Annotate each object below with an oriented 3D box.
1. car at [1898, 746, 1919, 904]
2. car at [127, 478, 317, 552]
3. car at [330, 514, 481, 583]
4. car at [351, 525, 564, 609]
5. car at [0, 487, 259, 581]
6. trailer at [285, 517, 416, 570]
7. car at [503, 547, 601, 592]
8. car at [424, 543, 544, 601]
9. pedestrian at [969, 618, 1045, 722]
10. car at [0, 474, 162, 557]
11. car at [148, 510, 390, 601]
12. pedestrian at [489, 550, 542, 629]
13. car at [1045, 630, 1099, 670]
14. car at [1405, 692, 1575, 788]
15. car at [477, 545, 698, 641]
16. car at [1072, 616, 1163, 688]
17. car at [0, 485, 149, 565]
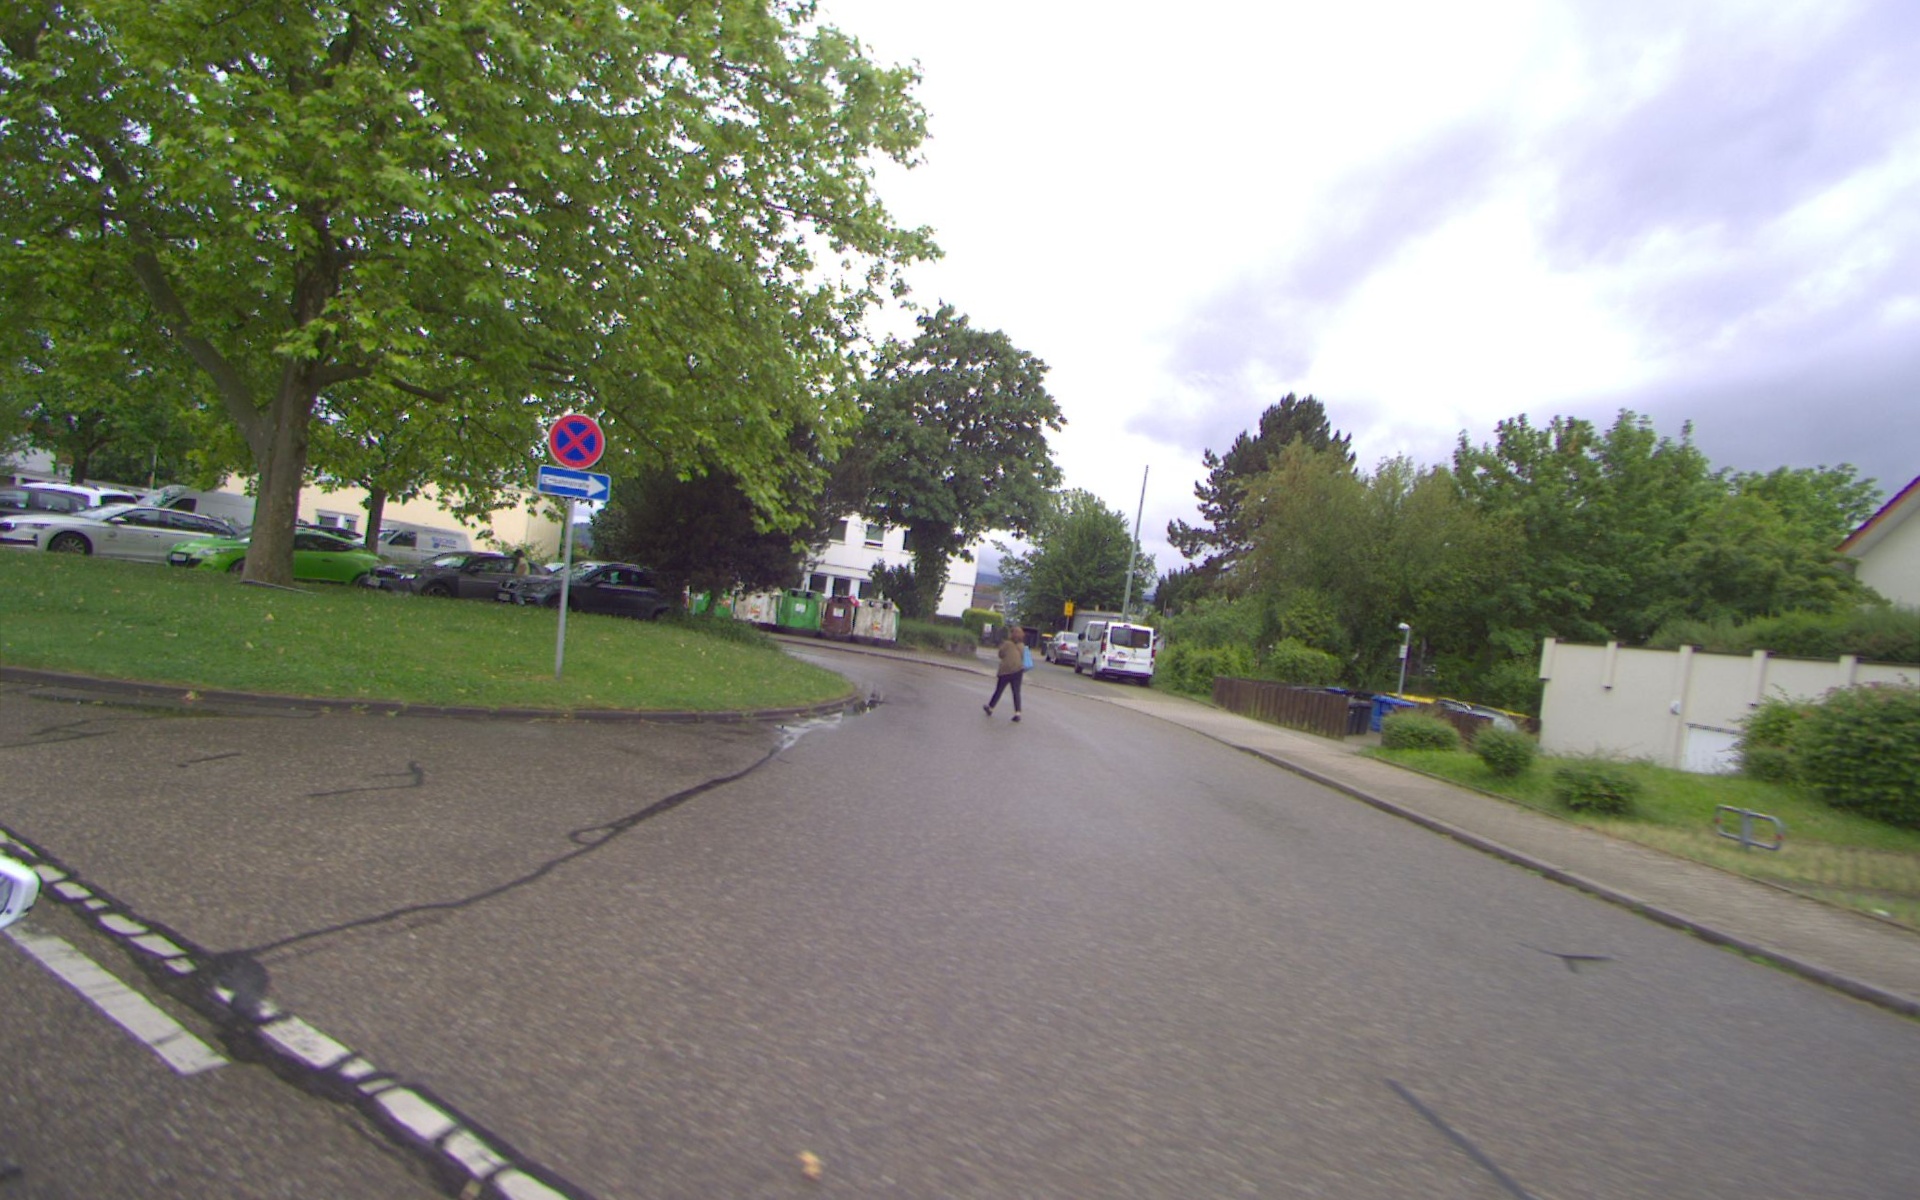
[{"bbox_3d":[10.598,2.230,8.521,3.702,1.499,1.744,7,1,-6],"label":"car"},{"bbox_3d":[-29.099,-3.276,39.958,1.963,2.038,5.838,7,0,21],"label":"car"},{"bbox_3d":[-21.438,-1.933,39.145,1.964,2.038,4.762,7,0,24],"label":"car"},{"bbox_3d":[-11.238,-0.680,22.804,1.733,1.388,4.019,7,0,26],"label":"car"},{"bbox_3d":[-18.407,-1.417,22.117,1.733,1.460,4.583,7,0,26],"label":"car"},{"bbox_3d":[-23.914,-2.189,39.631,1.684,1.454,3.993,7,-1,32],"label":"trailer"},{"bbox_3d":[-15.849,-1.159,39.208,1.556,1.245,3.299,7,-1,22],"label":"car"},{"bbox_3d":[-18.689,-1.052,39.646,1.792,1.795,3.900,7,0,24],"label":"car"},{"bbox_3d":[0.787,1.159,16.877,0.729,1.602,0.944,7,-1,-26],"label":"pedestrian"},{"bbox_3d":[-27.193,-2.593,30.566,4.134,1.904,2.000,7,0,1],"label":"car"},{"bbox_3d":[-15.161,-0.925,22.320,1.733,1.460,4.019,7,0,26],"label":"car"},{"bbox_3d":[-9.996,-0.231,22.641,0.578,1.672,0.738,8,1,34],"label":"pedestrian"},{"bbox_3d":[4.800,2.124,43.667,1.725,1.383,4.000,8,-1,0],"label":"car"},{"bbox_3d":[14.944,3.887,28.755,1.966,1.845,4.929,7,-1,-1],"label":"car"},{"bbox_3d":[-8.314,-0.112,22.740,1.740,1.646,4.273,7,0,41],"label":"car"},{"bbox_3d":[5.355,1.711,34.909,2.048,2.038,4.996,7,-1,-1],"label":"car"},{"bbox_3d":[-21.170,-1.788,22.295,1.733,1.460,4.583,7,0,26],"label":"car"}]
